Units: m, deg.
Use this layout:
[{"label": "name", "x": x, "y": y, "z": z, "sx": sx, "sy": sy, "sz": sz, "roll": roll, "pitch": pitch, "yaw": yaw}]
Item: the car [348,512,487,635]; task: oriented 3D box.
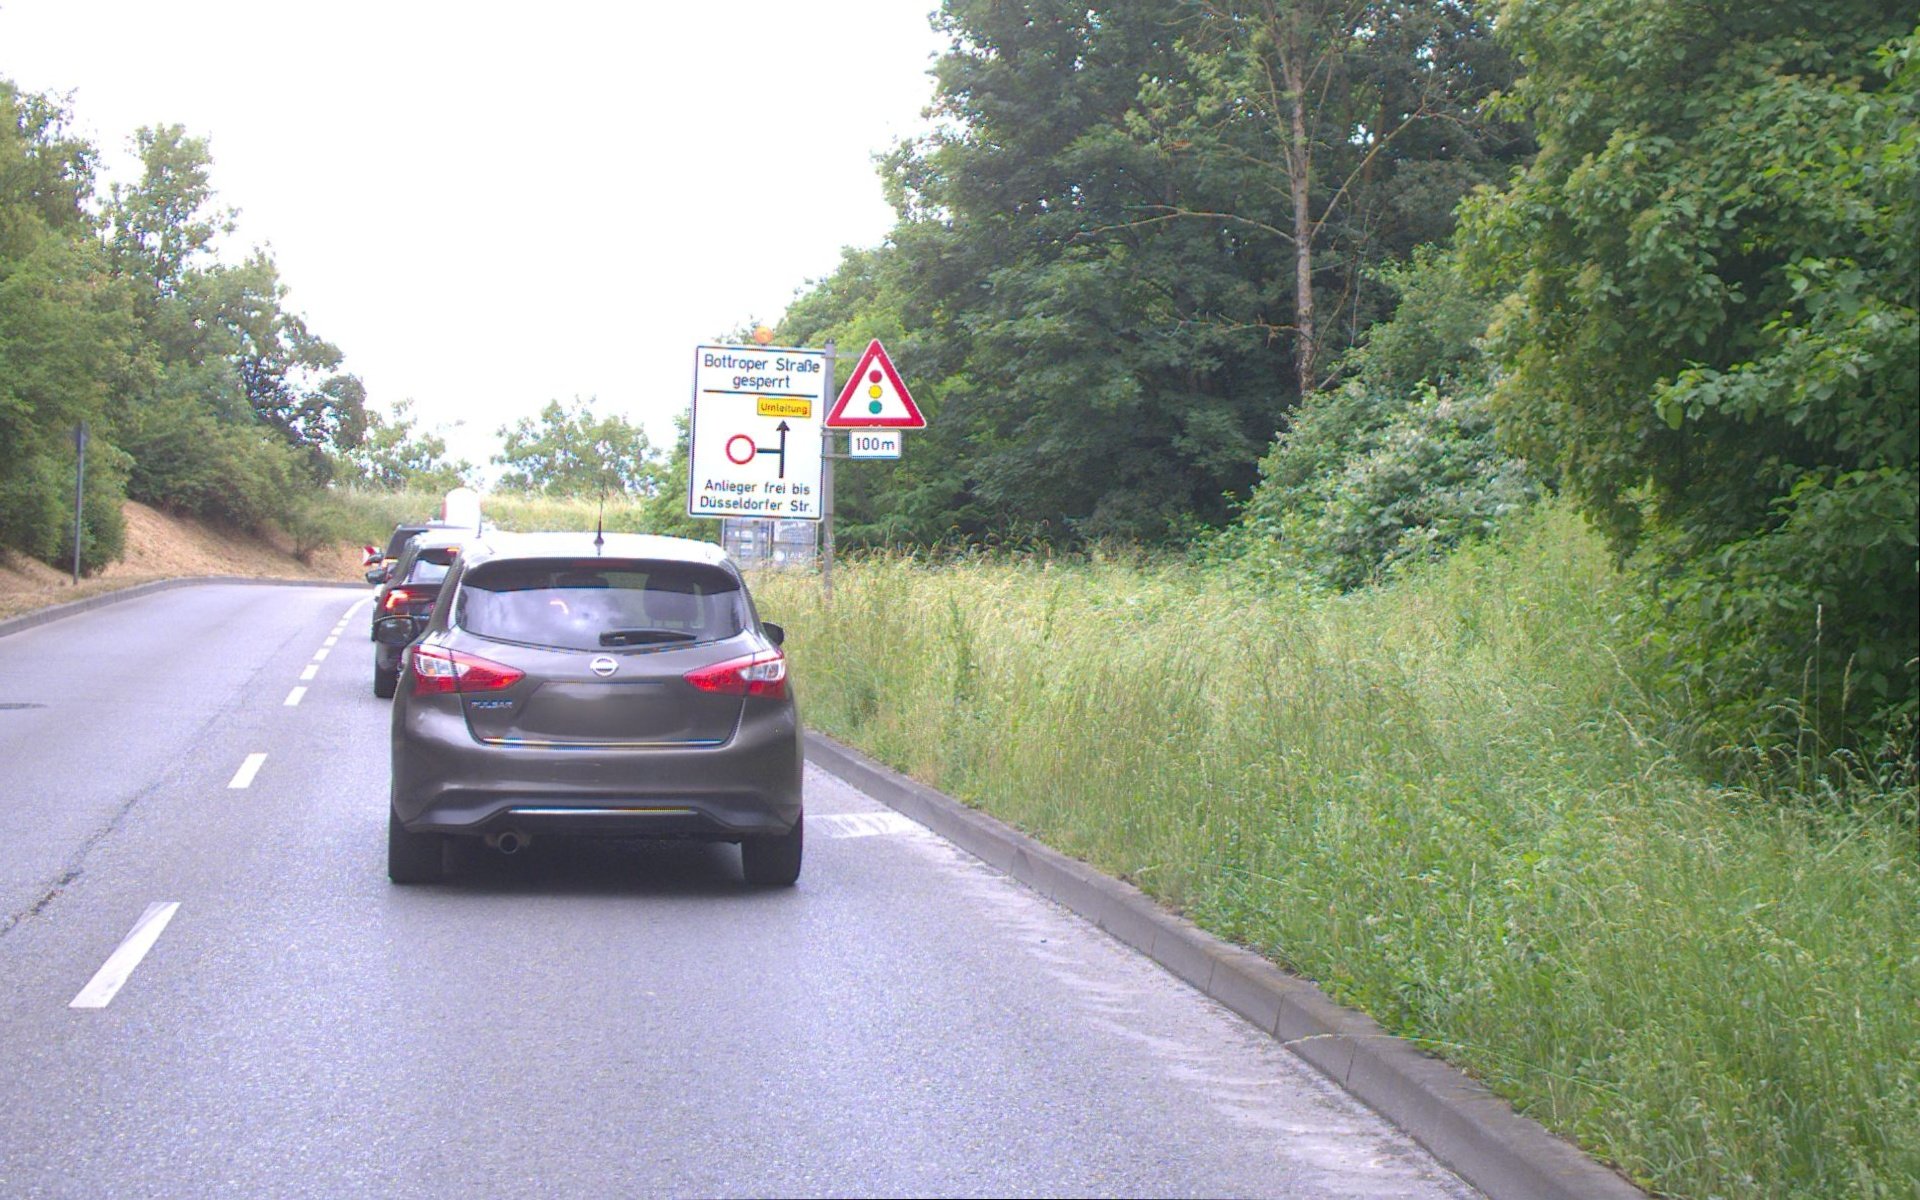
[{"label": "car", "x": -7.154, "y": -0.370, "z": 45.472, "sx": 1.735, "sy": 1.551, "sz": 3.544, "roll": 0, "pitch": 1, "yaw": -8}]

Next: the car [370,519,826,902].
[{"label": "car", "x": -1.729, "y": 0.420, "z": 15.786, "sx": 1.830, "sy": 1.551, "sz": 3.500, "roll": 1, "pitch": 1, "yaw": -8}]

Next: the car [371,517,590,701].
[{"label": "car", "x": -4.331, "y": 0.041, "z": 31.002, "sx": 1.830, "sy": 1.551, "sz": 3.625, "roll": 0, "pitch": 1, "yaw": -8}]

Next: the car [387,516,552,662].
[{"label": "car", "x": -5.502, "y": -0.152, "z": 38.579, "sx": 1.735, "sy": 1.551, "sz": 3.544, "roll": 0, "pitch": 1, "yaw": -8}]

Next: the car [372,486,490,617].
[{"label": "car", "x": -8.143, "y": -0.761, "z": 53.031, "sx": 1.735, "sy": 1.928, "sz": 3.544, "roll": 0, "pitch": 1, "yaw": -8}]
